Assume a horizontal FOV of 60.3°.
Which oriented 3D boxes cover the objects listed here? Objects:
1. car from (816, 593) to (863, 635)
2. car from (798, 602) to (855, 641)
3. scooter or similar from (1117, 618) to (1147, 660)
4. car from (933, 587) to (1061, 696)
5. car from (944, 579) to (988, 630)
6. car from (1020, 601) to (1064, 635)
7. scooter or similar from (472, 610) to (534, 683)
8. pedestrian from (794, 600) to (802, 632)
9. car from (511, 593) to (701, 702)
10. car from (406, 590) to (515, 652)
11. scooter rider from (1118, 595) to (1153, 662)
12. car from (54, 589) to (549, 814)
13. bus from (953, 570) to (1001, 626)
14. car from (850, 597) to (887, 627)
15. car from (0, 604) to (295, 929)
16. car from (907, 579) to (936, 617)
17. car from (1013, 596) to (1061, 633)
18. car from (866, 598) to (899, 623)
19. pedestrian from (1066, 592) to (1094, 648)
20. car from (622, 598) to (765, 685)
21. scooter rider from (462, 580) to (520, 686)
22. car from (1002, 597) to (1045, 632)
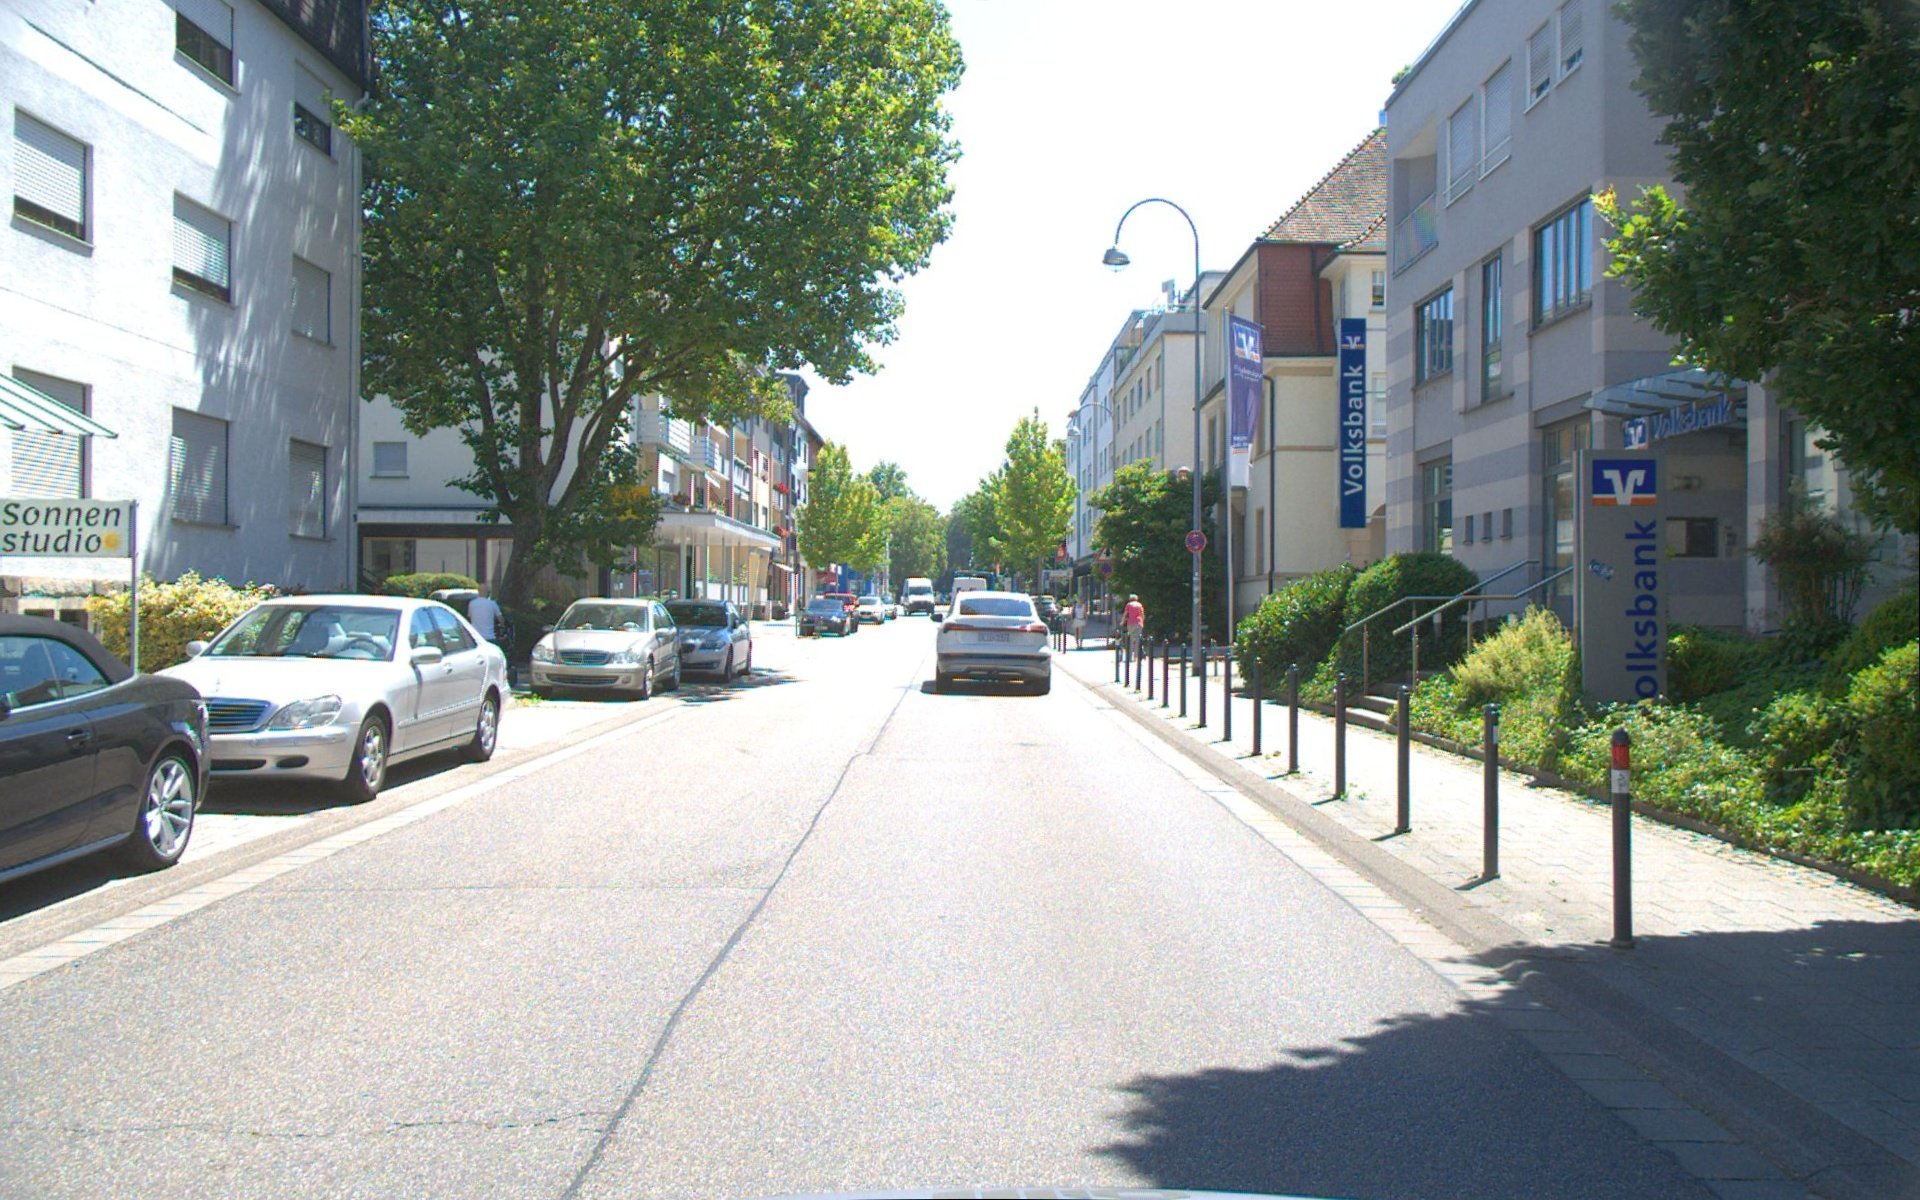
[{"bbox_3d":[-5.297,0.613,73.051,1.717,1.732,4.101,2,0,-1],"label":"car"},{"bbox_3d":[-5.338,0.828,66.575,1.857,1.442,5.047,2,0,-1],"label":"car"},{"bbox_3d":[4.171,0.942,40.154,0.649,0.980,0.754,0,0,0],"label":"scooter or similar"},{"bbox_3d":[0.549,0.659,28.061,1.953,1.661,3.999,2,0,-1],"label":"car"},{"bbox_3d":[0.326,0.234,86.645,2.112,2.484,5.283,2,0,0],"label":"car"},{"bbox_3d":[3.646,0.776,73.791,1.857,1.463,4.545,0,0,2],"label":"car"},{"bbox_3d":[-7.331,0.735,26.588,0.649,1.117,1.028,2,0,1],"label":"scooter or similar"},{"bbox_3d":[-8.978,0.884,91.790,0.387,1.765,0.444,0,0,-11],"label":"pedestrian"},{"bbox_3d":[-5.342,0.667,25.607,1.941,1.477,4.867,1,0,-1],"label":"car"},{"bbox_3d":[-13.057,0.521,43.122,1.871,1.512,3.955,0,0,-30],"label":"car"},{"bbox_3d":[4.188,0.669,39.499,0.701,1.576,0.770,-1,0,-2],"label":"scooter rider"},{"bbox_3d":[-5.125,0.687,13.884,1.940,1.477,5.357,1,0,0],"label":"car"},{"bbox_3d":[1.121,-0.090,104.053,2.605,3.277,7.303,2,0,2],"label":"bus"},{"bbox_3d":[-5.309,0.701,96.361,1.716,1.646,4.401,2,0,1],"label":"car"},{"bbox_3d":[-5.157,0.735,7.814,1.902,1.397,5.098,1,0,0],"label":"car"},{"bbox_3d":[-2.897,-0.137,121.802,1.995,2.676,7.104,-1,0,-2],"label":"car"},{"bbox_3d":[3.689,0.692,79.933,1.858,1.704,4.688,-1,0,-2],"label":"car"},{"bbox_3d":[-5.005,0.665,107.229,1.716,1.478,4.401,2,0,2],"label":"car"},{"bbox_3d":[3.613,0.606,49.879,0.686,1.655,0.783,-2,-1,-1],"label":"pedestrian"},{"bbox_3d":[-4.960,0.718,31.503,1.941,1.477,5.149,1,0,-1],"label":"car"},{"bbox_3d":[-7.338,0.505,25.918,0.576,1.602,0.877,2,0,1],"label":"scooter rider"},{"bbox_3d":[3.265,0.710,85.276,1.818,1.704,4.534,-1,0,-2],"label":"car"}]
